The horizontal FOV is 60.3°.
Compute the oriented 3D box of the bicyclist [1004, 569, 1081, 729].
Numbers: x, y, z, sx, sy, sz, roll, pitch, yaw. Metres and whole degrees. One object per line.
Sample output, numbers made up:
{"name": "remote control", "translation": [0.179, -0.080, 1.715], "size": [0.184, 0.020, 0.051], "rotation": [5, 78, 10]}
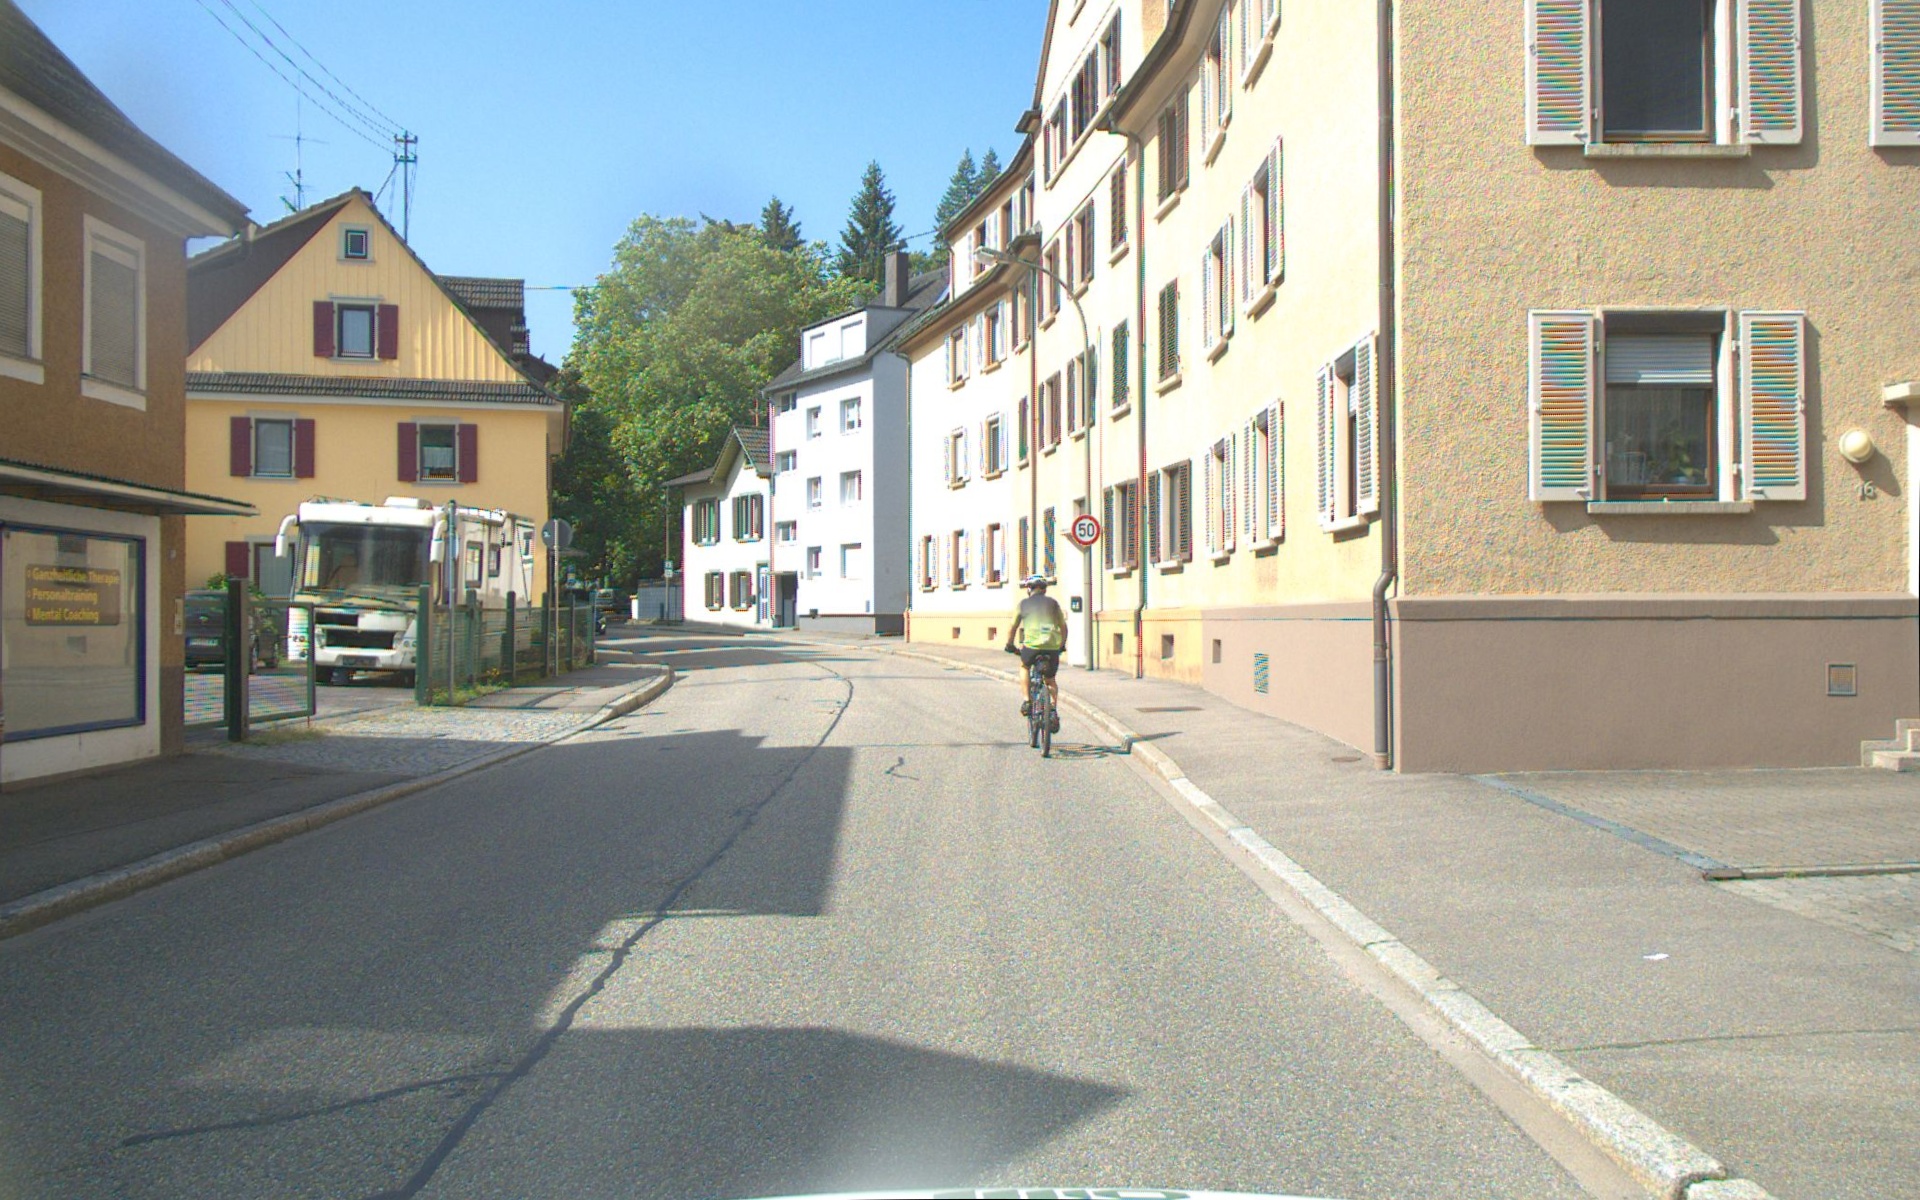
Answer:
{"name": "bicyclist", "translation": [0.821, 0.485, 16.660], "size": [0.672, 1.558, 0.715], "rotation": [-1, -1, -3]}

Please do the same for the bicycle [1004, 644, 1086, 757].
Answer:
{"name": "bicycle", "translation": [0.845, 0.991, 16.735], "size": [0.684, 1.053, 1.470], "rotation": [0, 0, -3]}

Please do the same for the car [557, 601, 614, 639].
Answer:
{"name": "car", "translation": [-16.068, 0.841, 70.878], "size": [1.724, 1.478, 4.000], "rotation": [-4, 1, -22]}

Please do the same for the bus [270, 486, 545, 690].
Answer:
{"name": "bus", "translation": [-10.173, -0.198, 31.606], "size": [2.765, 3.284, 9.028], "rotation": [1, 0, -4]}

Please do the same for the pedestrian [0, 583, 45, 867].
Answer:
{"name": "pedestrian", "translation": [-5.899, 0.725, 9.671], "size": [0.626, 1.655, 0.777], "rotation": [1, 0, -1]}

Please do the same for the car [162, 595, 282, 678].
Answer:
{"name": "car", "translation": [-13.949, 0.662, 31.452], "size": [1.739, 1.457, 3.977], "rotation": [1, -1, -20]}
